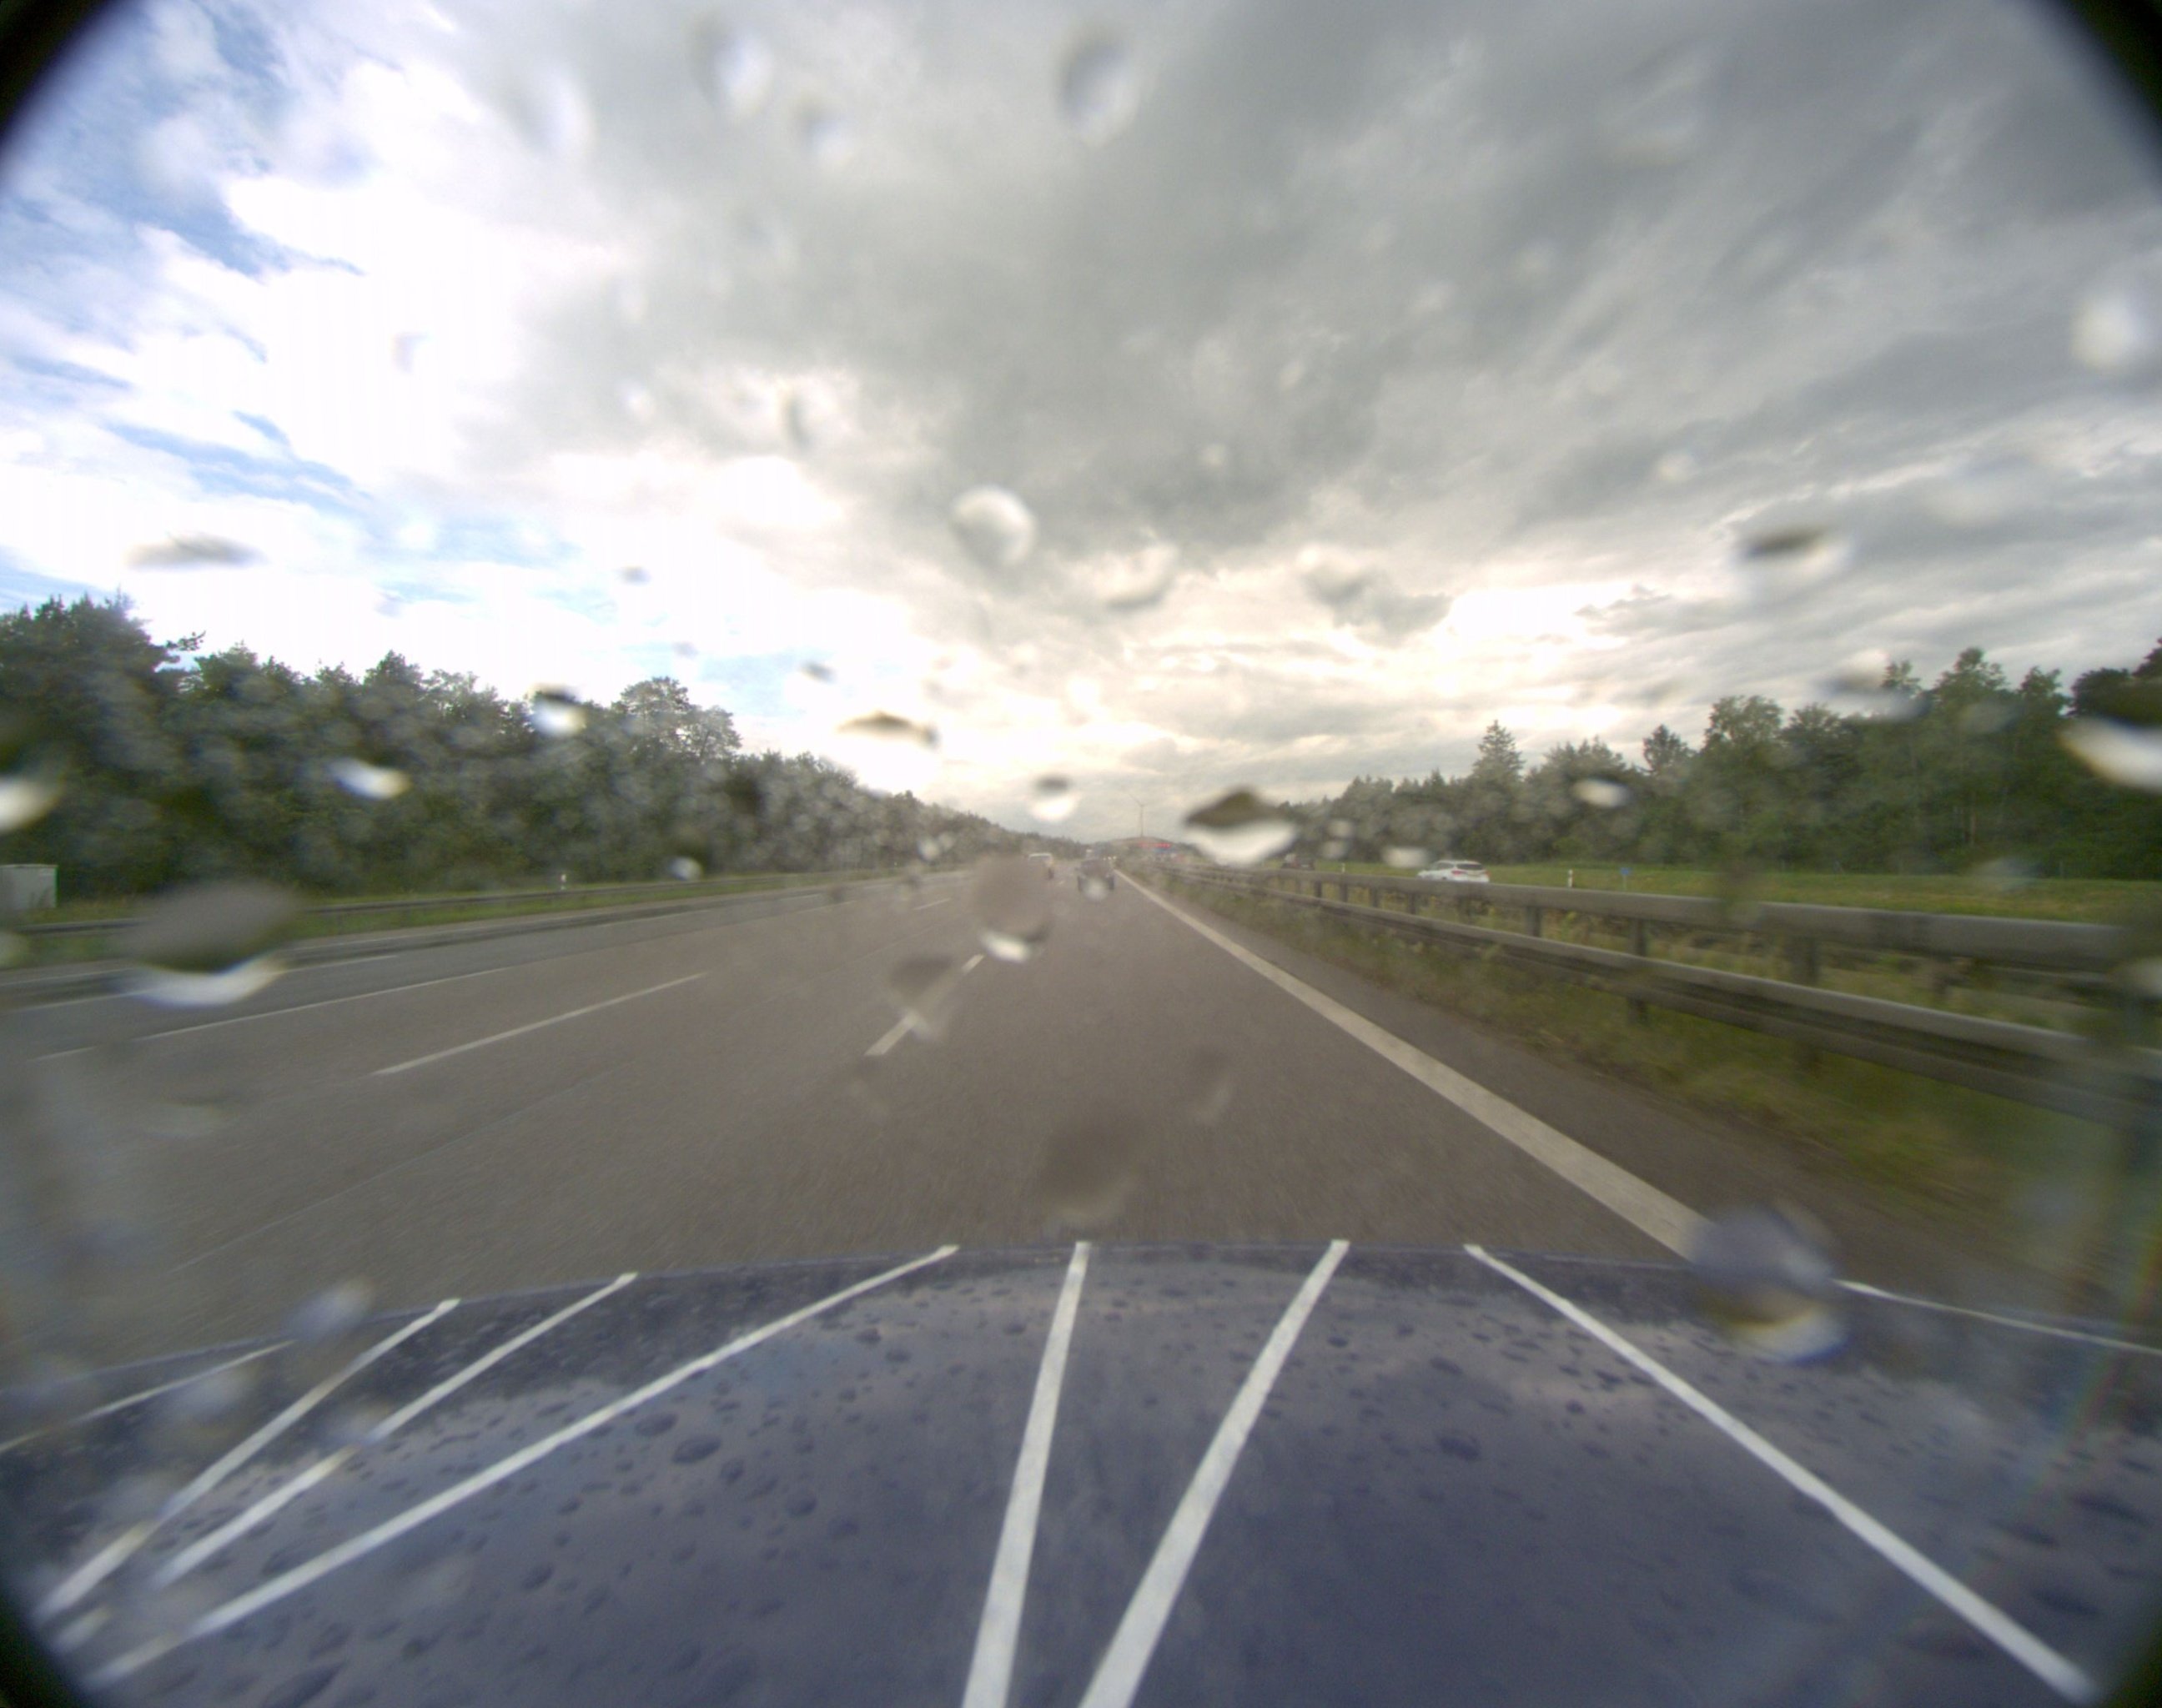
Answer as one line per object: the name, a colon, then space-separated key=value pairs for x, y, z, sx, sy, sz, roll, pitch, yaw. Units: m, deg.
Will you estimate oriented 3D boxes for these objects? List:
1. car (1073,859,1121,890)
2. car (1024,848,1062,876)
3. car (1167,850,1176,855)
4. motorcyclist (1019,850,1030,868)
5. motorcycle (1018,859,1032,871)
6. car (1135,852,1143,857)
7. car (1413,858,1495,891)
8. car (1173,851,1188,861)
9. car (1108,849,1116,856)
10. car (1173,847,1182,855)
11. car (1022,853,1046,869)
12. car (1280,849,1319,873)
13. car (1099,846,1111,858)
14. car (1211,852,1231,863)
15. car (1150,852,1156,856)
car: x=0.811 y=0.903 z=35.349 sx=1.809 sy=1.321 sz=4.433 roll=0 pitch=0 yaw=6
car: x=-2.656 y=0.562 z=54.717 sx=1.968 sy=1.890 sz=4.883 roll=-2 pitch=0 yaw=5
car: x=24.524 y=-0.373 z=206.078 sx=1.879 sy=1.464 sz=4.000 roll=0 pitch=1 yaw=0
motorcyclist: x=-5.346 y=0.466 z=72.272 sx=0.893 sy=1.605 sz=0.959 roll=-2 pitch=1 yaw=5
motorcycle: x=-5.320 y=1.036 z=72.457 sx=1.002 sy=1.025 sz=2.174 roll=-2 pitch=0 yaw=5
car: x=17.631 y=0.080 z=230.890 sx=1.879 sy=1.423 sz=4.000 roll=-1 pitch=1 yaw=0
car: x=17.896 y=0.929 z=36.688 sx=1.854 sy=1.436 sz=4.320 roll=0 pitch=1 yaw=0
car: x=16.222 y=0.320 z=123.910 sx=1.998 sy=1.600 sz=4.608 roll=-2 pitch=0 yaw=1
car: x=9.364 y=-0.566 z=231.215 sx=2.179 sy=2.002 sz=4.362 roll=-3 pitch=0 yaw=2
car: x=30.749 y=-0.924 z=242.752 sx=2.103 sy=2.496 sz=6.584 roll=1 pitch=0 yaw=2
car: x=-5.980 y=0.888 z=97.873 sx=1.997 sy=2.002 sz=5.486 roll=-2 pitch=0 yaw=8
car: x=18.554 y=0.554 z=64.655 sx=1.998 sy=1.906 sz=4.724 roll=2 pitch=0 yaw=1
car: x=4.167 y=-0.329 z=132.019 sx=1.998 sy=2.002 sz=4.000 roll=-3 pitch=0 yaw=1
car: x=19.382 y=0.429 z=105.255 sx=1.998 sy=1.492 sz=4.608 roll=1 pitch=0 yaw=1
car: x=23.890 y=-0.051 z=252.565 sx=1.701 sy=1.317 sz=4.668 roll=0 pitch=0 yaw=2
